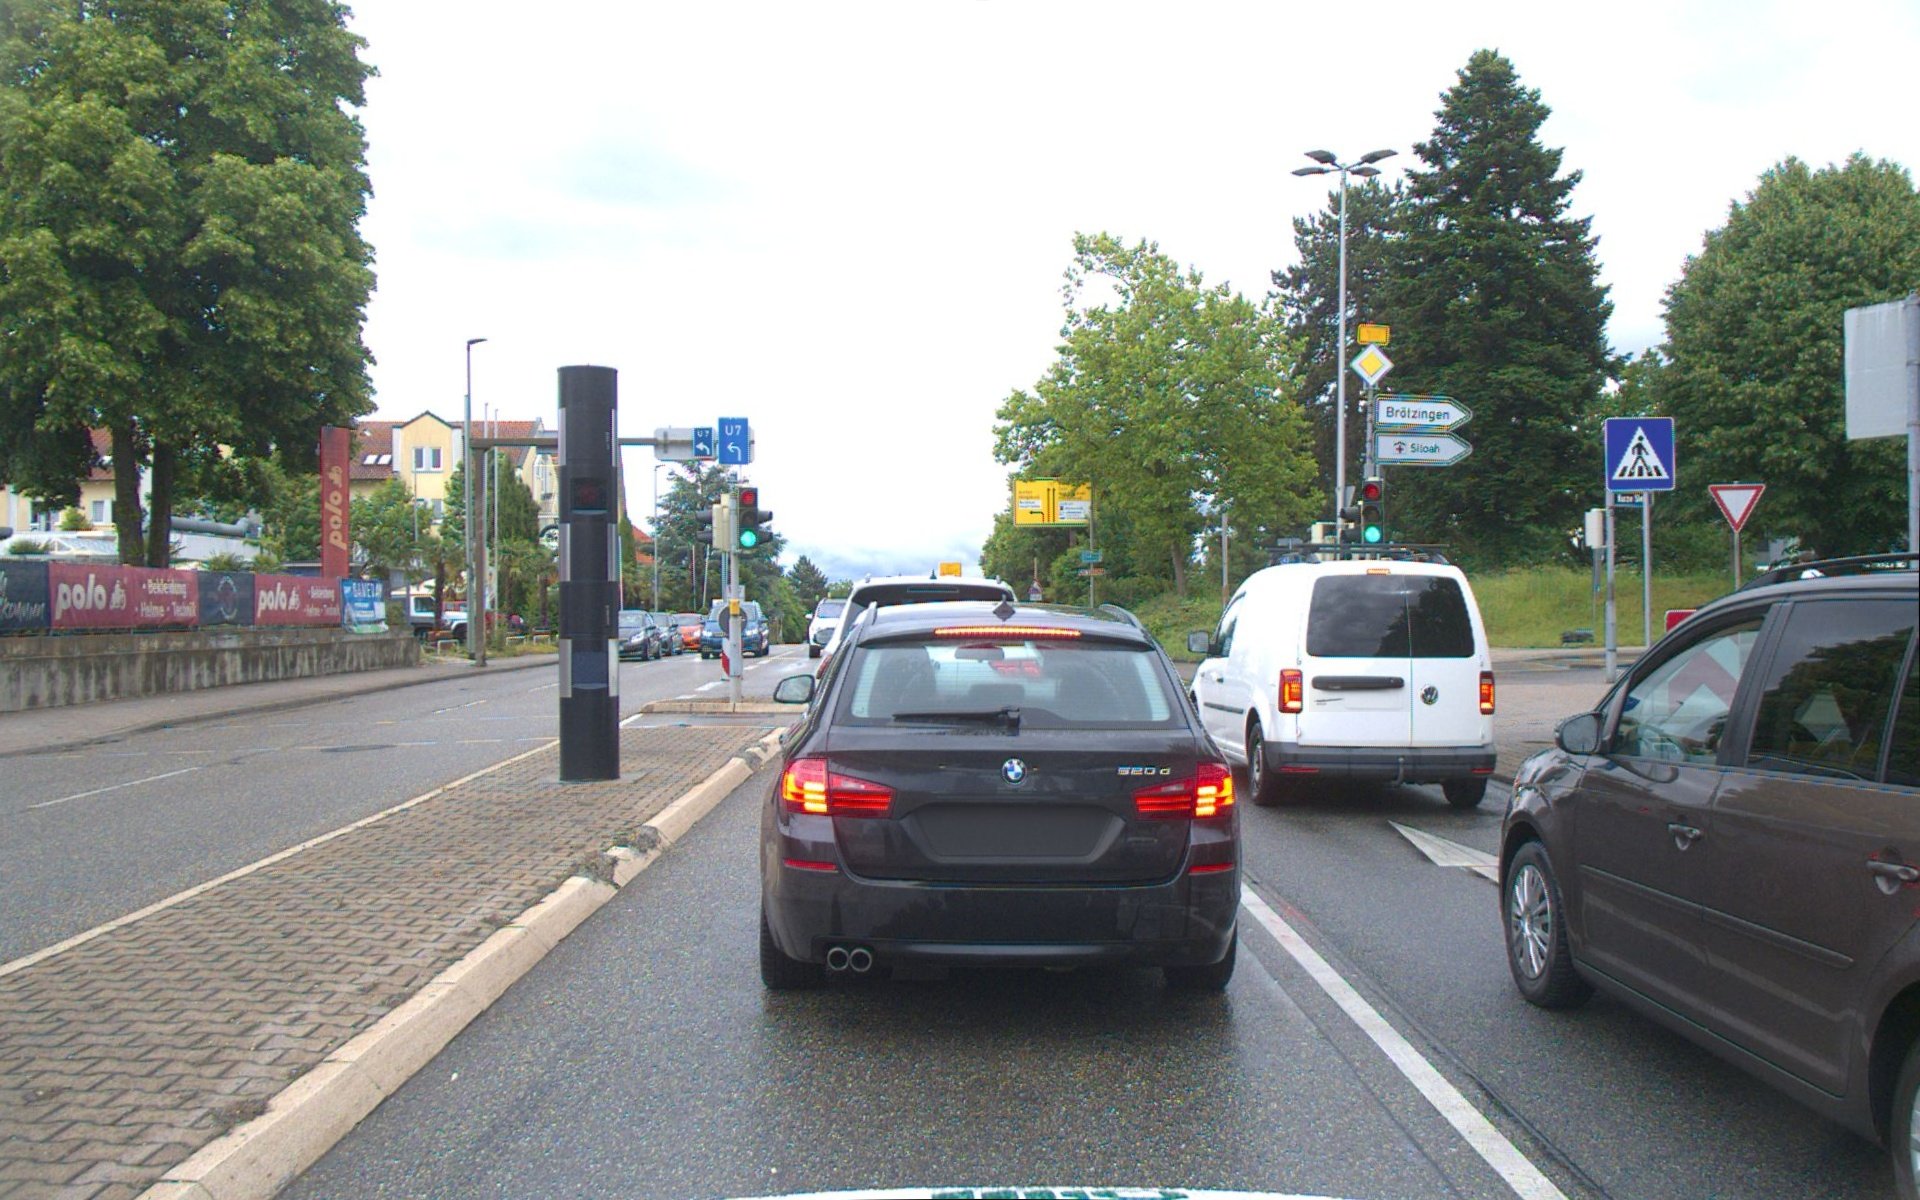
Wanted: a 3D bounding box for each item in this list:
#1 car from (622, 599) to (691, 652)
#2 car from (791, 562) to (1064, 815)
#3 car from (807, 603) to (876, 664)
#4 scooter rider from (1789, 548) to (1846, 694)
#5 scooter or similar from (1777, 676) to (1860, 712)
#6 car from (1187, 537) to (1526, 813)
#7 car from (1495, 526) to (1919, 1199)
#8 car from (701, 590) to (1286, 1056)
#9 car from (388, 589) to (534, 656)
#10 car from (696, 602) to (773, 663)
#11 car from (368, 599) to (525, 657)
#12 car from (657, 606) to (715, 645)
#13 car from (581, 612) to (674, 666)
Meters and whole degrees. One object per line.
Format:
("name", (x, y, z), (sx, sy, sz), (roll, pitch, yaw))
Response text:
("car", (-10.178, 0.813, 55.681), (1.642, 1.646, 3.999), (-1, 0, -1))
("car", (-0.241, 0.581, 13.216), (1.830, 1.703, 4.000), (1, 0, -1))
("car", (-3.411, 0.928, 48.267), (1.802, 1.678, 4.295), (-1, 0, -2))
("scooter rider", (11.978, 0.286, 23.113), (0.490, 2.000, 0.547), (-1, 0, -1))
("scooter or similar", (11.989, 1.310, 23.124), (0.477, 0.410, 1.255), (-1, 1, -1))
("car", (3.019, 0.507, 13.398), (1.729, 1.910, 3.804), (0, 0, -2))
("car", (3.049, 0.660, 4.722), (1.711, 1.637, 3.980), (1, 0, -1))
("car", (0.089, 0.704, 7.290), (1.860, 1.467, 4.000), (1, 0, -1))
("car", (-16.745, 0.746, 55.575), (4.339, 2.049, 1.980), (-2, 0, -30))
("car", (-6.682, 0.940, 49.378), (1.802, 1.678, 4.295), (-2, 0, -2))
("car", (-17.991, 0.972, 58.038), (4.943, 1.732, 1.980), (-2, -3, -29))
("car", (-10.145, 0.925, 61.513), (1.590, 1.355, 3.945), (-2, 0, -2))
("car", (-9.763, 1.115, 48.812), (1.878, 1.403, 4.125), (-3, 0, -1))
